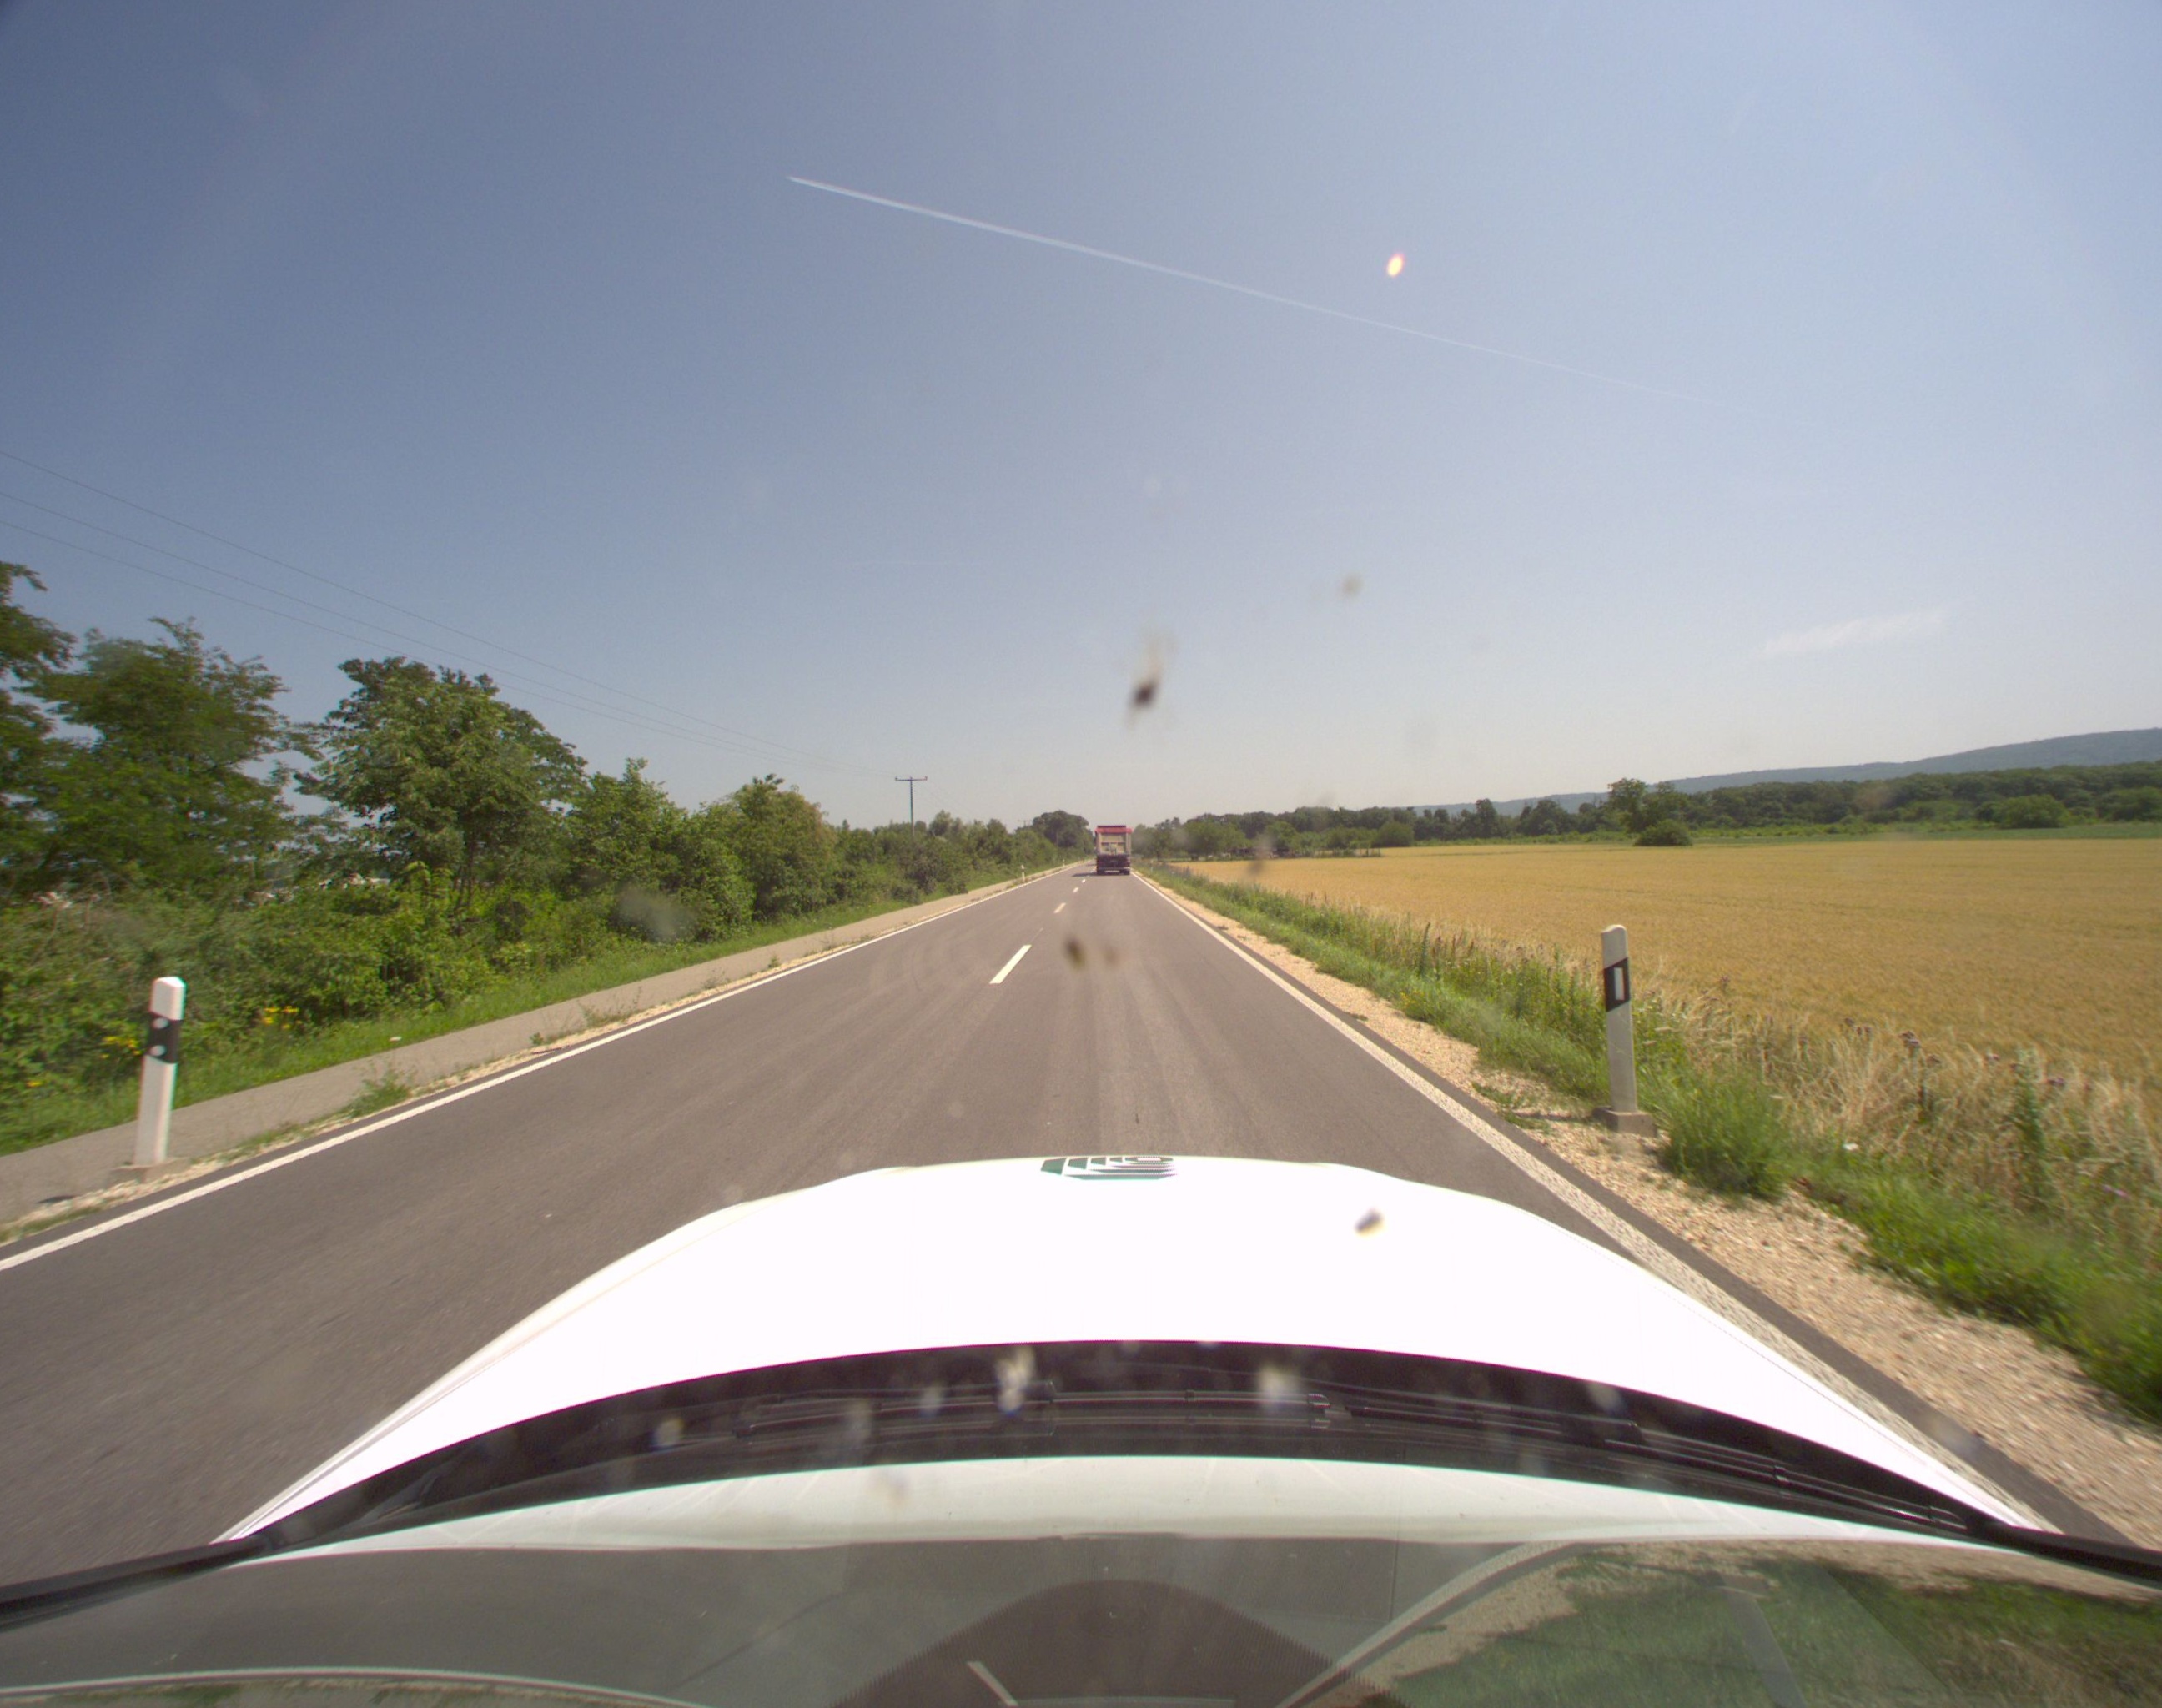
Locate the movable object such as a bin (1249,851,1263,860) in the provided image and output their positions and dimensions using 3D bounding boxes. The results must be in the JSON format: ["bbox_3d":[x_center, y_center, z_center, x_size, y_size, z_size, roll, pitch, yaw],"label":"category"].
[{"bbox_3d":[31.791,0.298,147.831,1.567,1.496,3.655,-1,0,-3],"label":"movable object such as a bin"}]

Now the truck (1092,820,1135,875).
[{"bbox_3d":[2.505,-0.432,63.980,2.998,3.874,12.213,0,0,2],"label":"truck"}]
